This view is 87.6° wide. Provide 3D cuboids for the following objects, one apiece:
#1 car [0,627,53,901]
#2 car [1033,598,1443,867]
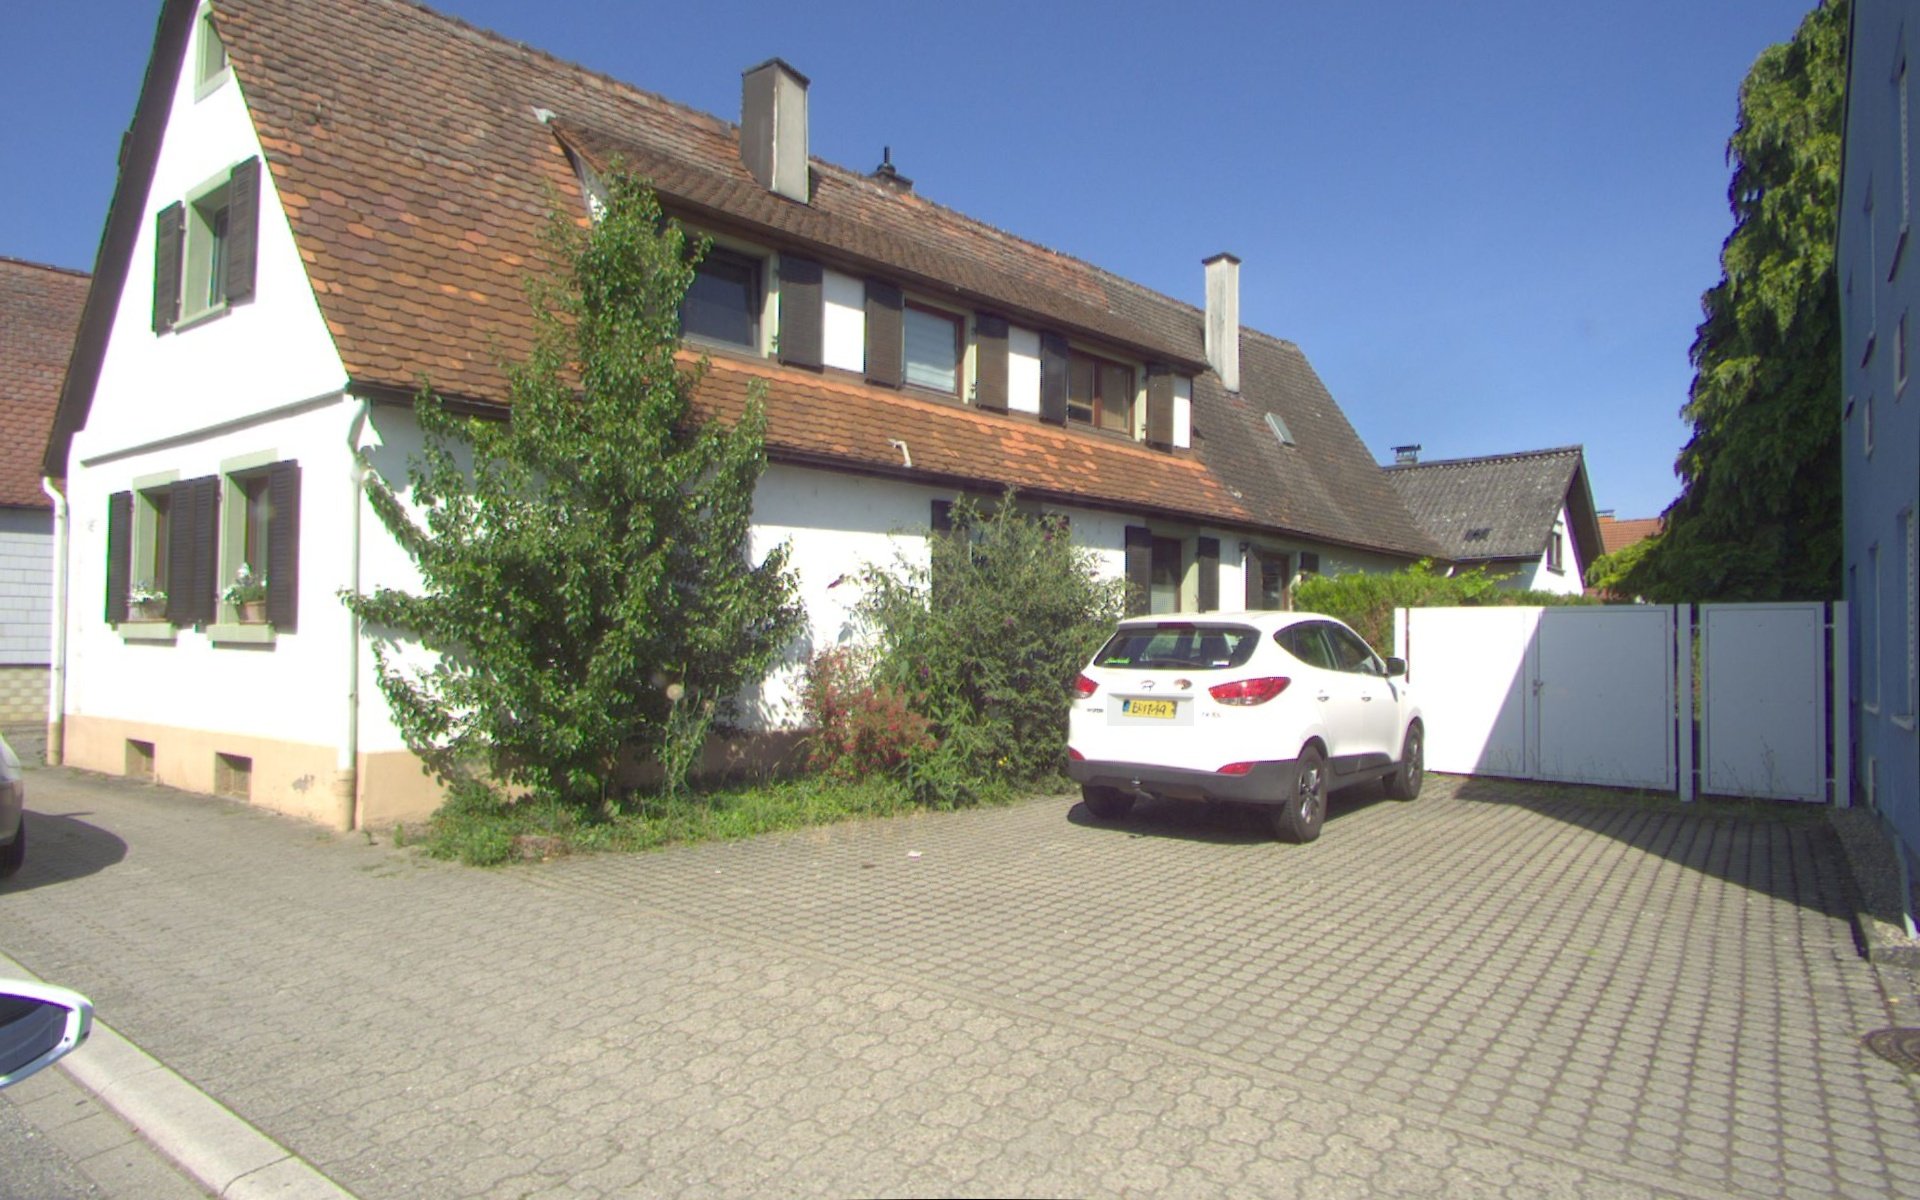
[{"bbox_3d":[-7.035,0.895,5.844,3.835,1.451,1.700,-1,-1,34],"label":"car"},{"bbox_3d":[2.555,0.933,8.463,1.791,1.678,4.157,-2,-3,40],"label":"car"}]
